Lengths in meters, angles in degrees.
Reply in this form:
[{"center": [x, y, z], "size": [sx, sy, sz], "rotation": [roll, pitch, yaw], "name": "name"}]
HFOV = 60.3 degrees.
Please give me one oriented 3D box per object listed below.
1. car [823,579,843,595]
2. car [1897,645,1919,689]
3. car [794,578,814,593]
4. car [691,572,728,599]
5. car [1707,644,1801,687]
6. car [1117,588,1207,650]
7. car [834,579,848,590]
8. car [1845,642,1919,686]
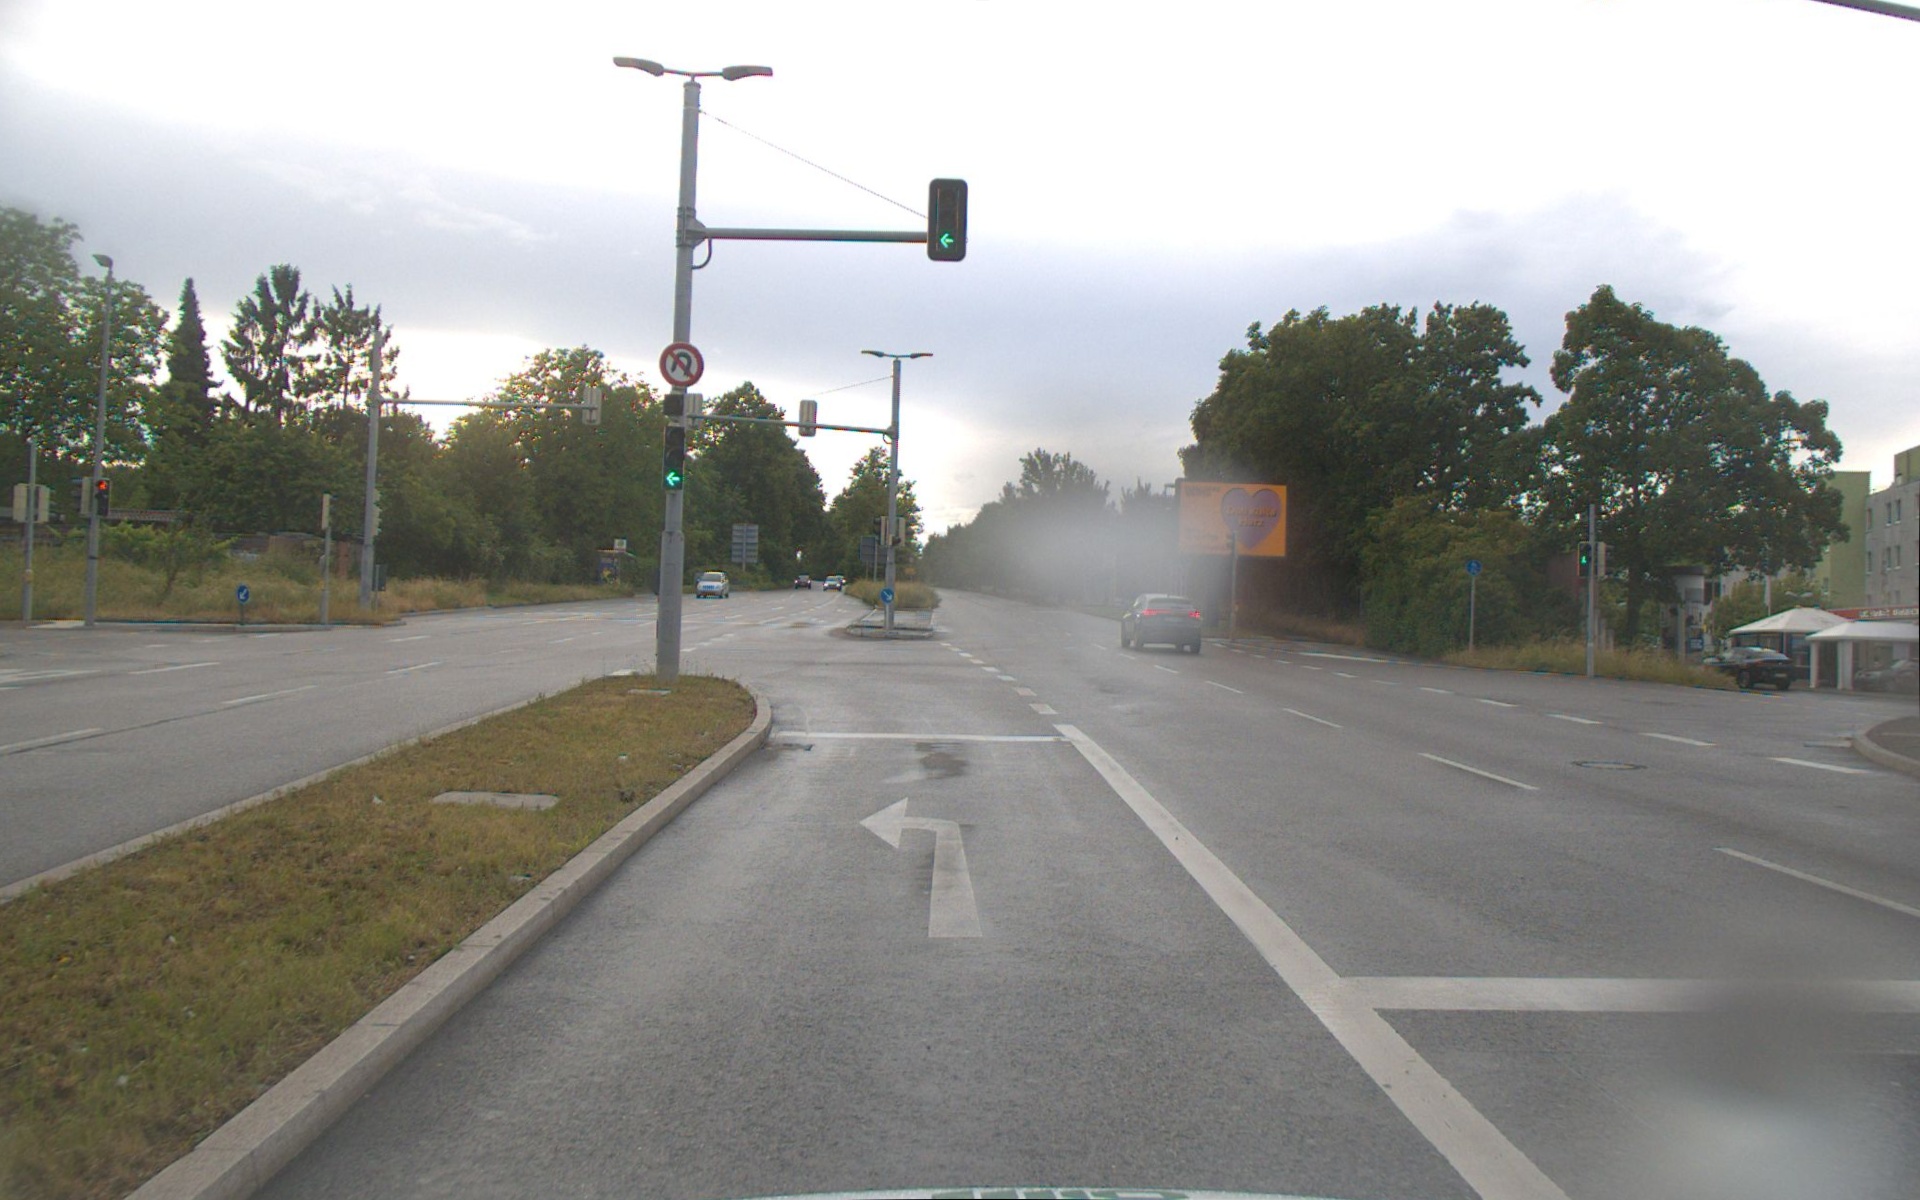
[{"center": [-12.990, -1.365, 169.494], "size": [1.855, 1.561, 4.487], "rotation": [2, 0, -2], "name": "car"}, {"center": [37.684, 2.591, 62.518], "size": [3.795, 1.591, 1.515], "rotation": [2, 0, -9], "name": "car"}, {"center": [-17.481, -1.635, 185.304], "size": [1.855, 1.624, 4.487], "rotation": [2, 0, -2], "name": "car"}, {"center": [-16.053, -0.938, 106.129], "size": [1.733, 1.624, 4.487], "rotation": [2, 0, -2], "name": "car"}, {"center": [32.589, 2.675, 67.998], "size": [1.741, 1.614, 4.140], "rotation": [3, -2, -2], "name": "car"}, {"center": [5.340, 0.469, 44.122], "size": [1.710, 1.495, 4.164], "rotation": [2, 0, -2], "name": "car"}, {"center": [-17.585, -2.263, 244.646], "size": [1.855, 1.624, 4.487], "rotation": [2, 0, -2], "name": "car"}, {"center": [37.045, 2.540, 65.022], "size": [3.795, 1.591, 1.515], "rotation": [2, 0, -9], "name": "car"}]
